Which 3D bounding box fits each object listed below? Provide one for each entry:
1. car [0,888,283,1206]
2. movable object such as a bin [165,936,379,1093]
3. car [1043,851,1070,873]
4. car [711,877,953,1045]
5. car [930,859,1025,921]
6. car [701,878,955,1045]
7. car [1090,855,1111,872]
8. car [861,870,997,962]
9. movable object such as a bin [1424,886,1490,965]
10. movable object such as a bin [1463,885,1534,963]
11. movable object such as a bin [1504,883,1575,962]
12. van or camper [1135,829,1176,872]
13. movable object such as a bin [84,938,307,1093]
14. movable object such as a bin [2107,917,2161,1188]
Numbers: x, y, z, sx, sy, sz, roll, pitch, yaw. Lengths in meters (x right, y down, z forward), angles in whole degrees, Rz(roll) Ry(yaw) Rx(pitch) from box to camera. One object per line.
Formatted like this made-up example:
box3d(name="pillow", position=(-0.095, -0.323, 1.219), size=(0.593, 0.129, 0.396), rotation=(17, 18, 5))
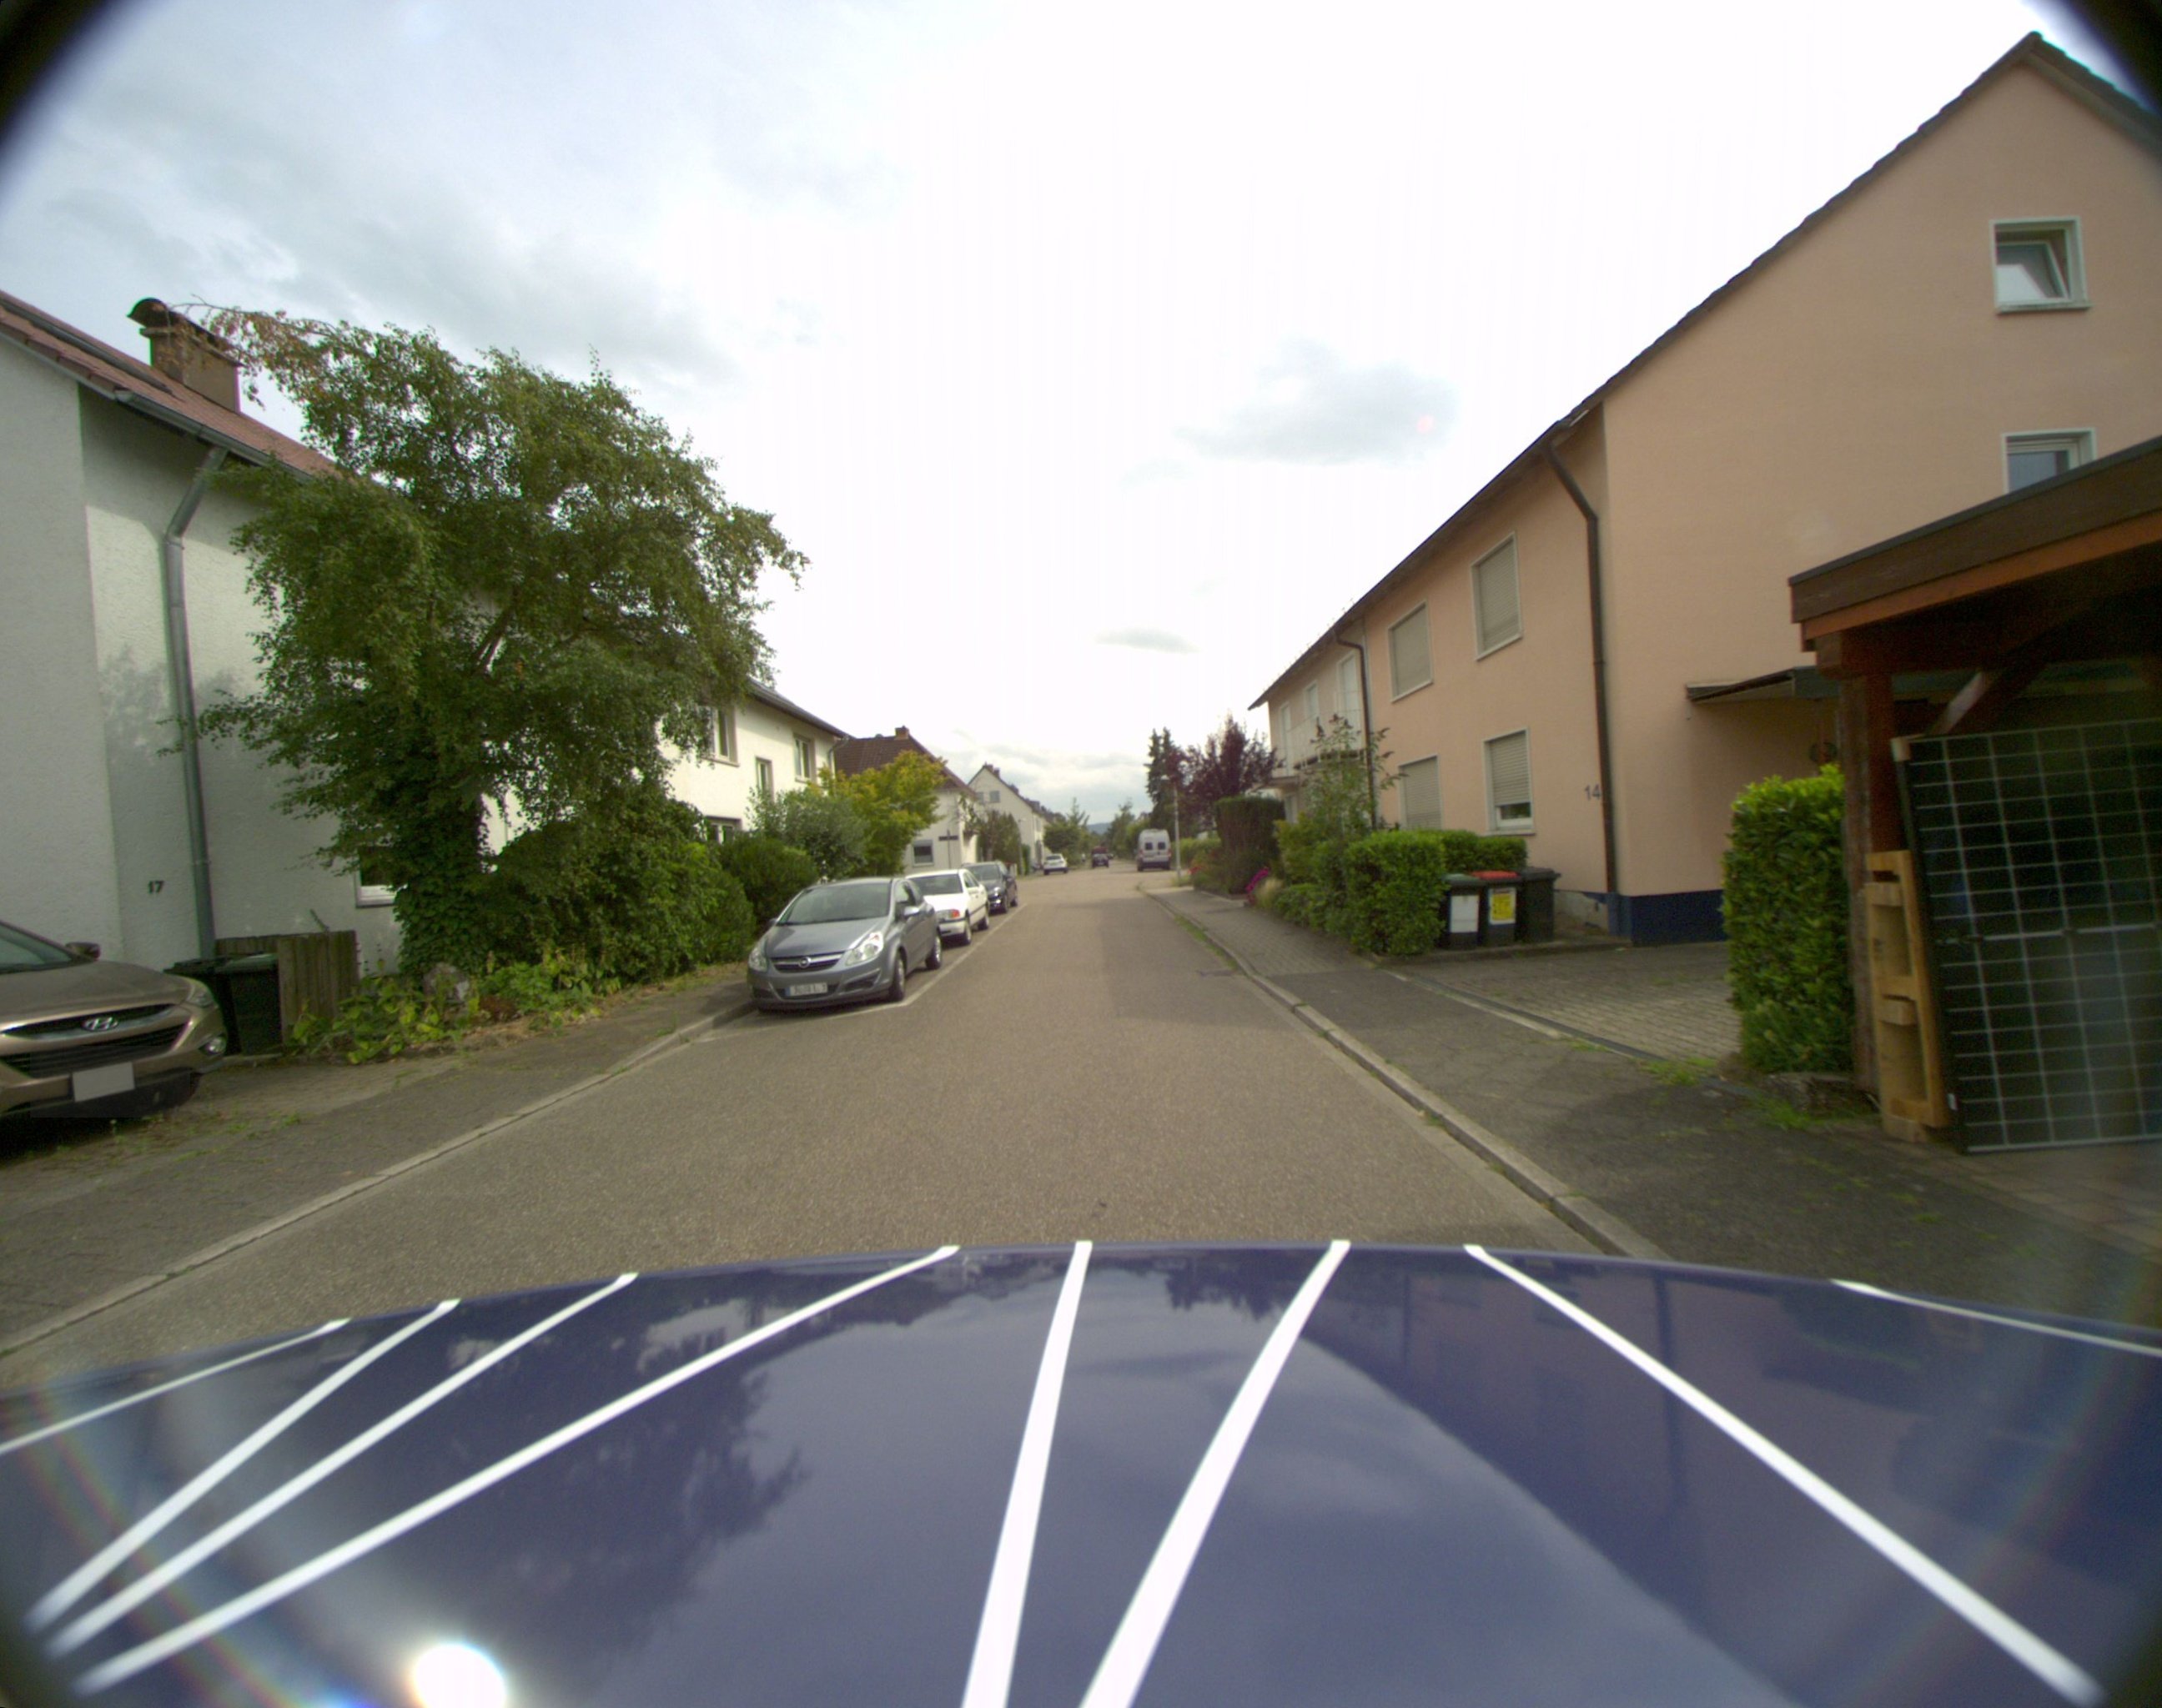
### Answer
box3d(name="car", position=(-8.316, 1.266, 4.834), size=(4.541, 1.698, 1.899), rotation=(-4, 1, 4))
box3d(name="movable object such as a bin", position=(-7.427, 1.434, 7.048), size=(0.721, 1.187, 1.099), rotation=(-3, 1, 1))
box3d(name="car", position=(-2.024, 0.610, 62.691), size=(1.999, 1.590, 3.999), rotation=(-4, 0, -2))
box3d(name="car", position=(-2.895, 1.160, 9.887), size=(1.707, 1.434, 4.219), rotation=(-5, 0, -1))
box3d(name="car", position=(-2.862, 0.960, 22.169), size=(1.872, 1.431, 4.850), rotation=(-4, 0, 2))
box3d(name="car", position=(-2.930, 1.173, 9.872), size=(1.746, 1.462, 4.217), rotation=(-4, 0, 1))
box3d(name="car", position=(2.128, 1.020, 82.748), size=(1.998, 1.696, 4.001), rotation=(-4, 0, 5))
box3d(name="car", position=(-2.886, 1.119, 15.481), size=(1.697, 1.357, 4.698), rotation=(-4, 0, 0))
box3d(name="movable object such as a bin", position=(4.567, 0.860, 9.259), size=(0.497, 0.876, 0.530), rotation=(-4, 1, 1))
box3d(name="movable object such as a bin", position=(5.109, 0.844, 9.322), size=(0.539, 0.875, 0.534), rotation=(-4, 1, 1))
box3d(name="movable object such as a bin", position=(5.626, 0.828, 9.341), size=(0.481, 0.898, 0.583), rotation=(-3, 1, 1))
box3d(name="van or camper", position=(5.114, -0.254, 52.966), size=(2.346, 2.719, 5.748), rotation=(-4, 0, 2))
box3d(name="movable object such as a bin", position=(-8.140, 1.445, 7.057), size=(0.655, 1.169, 1.142), rotation=(-3, 1, 1))
box3d(name="movable object such as a bin", position=(4.647, 0.787, 2.753), size=(0.705, 1.065, 0.822), rotation=(-4, 1, 1))
